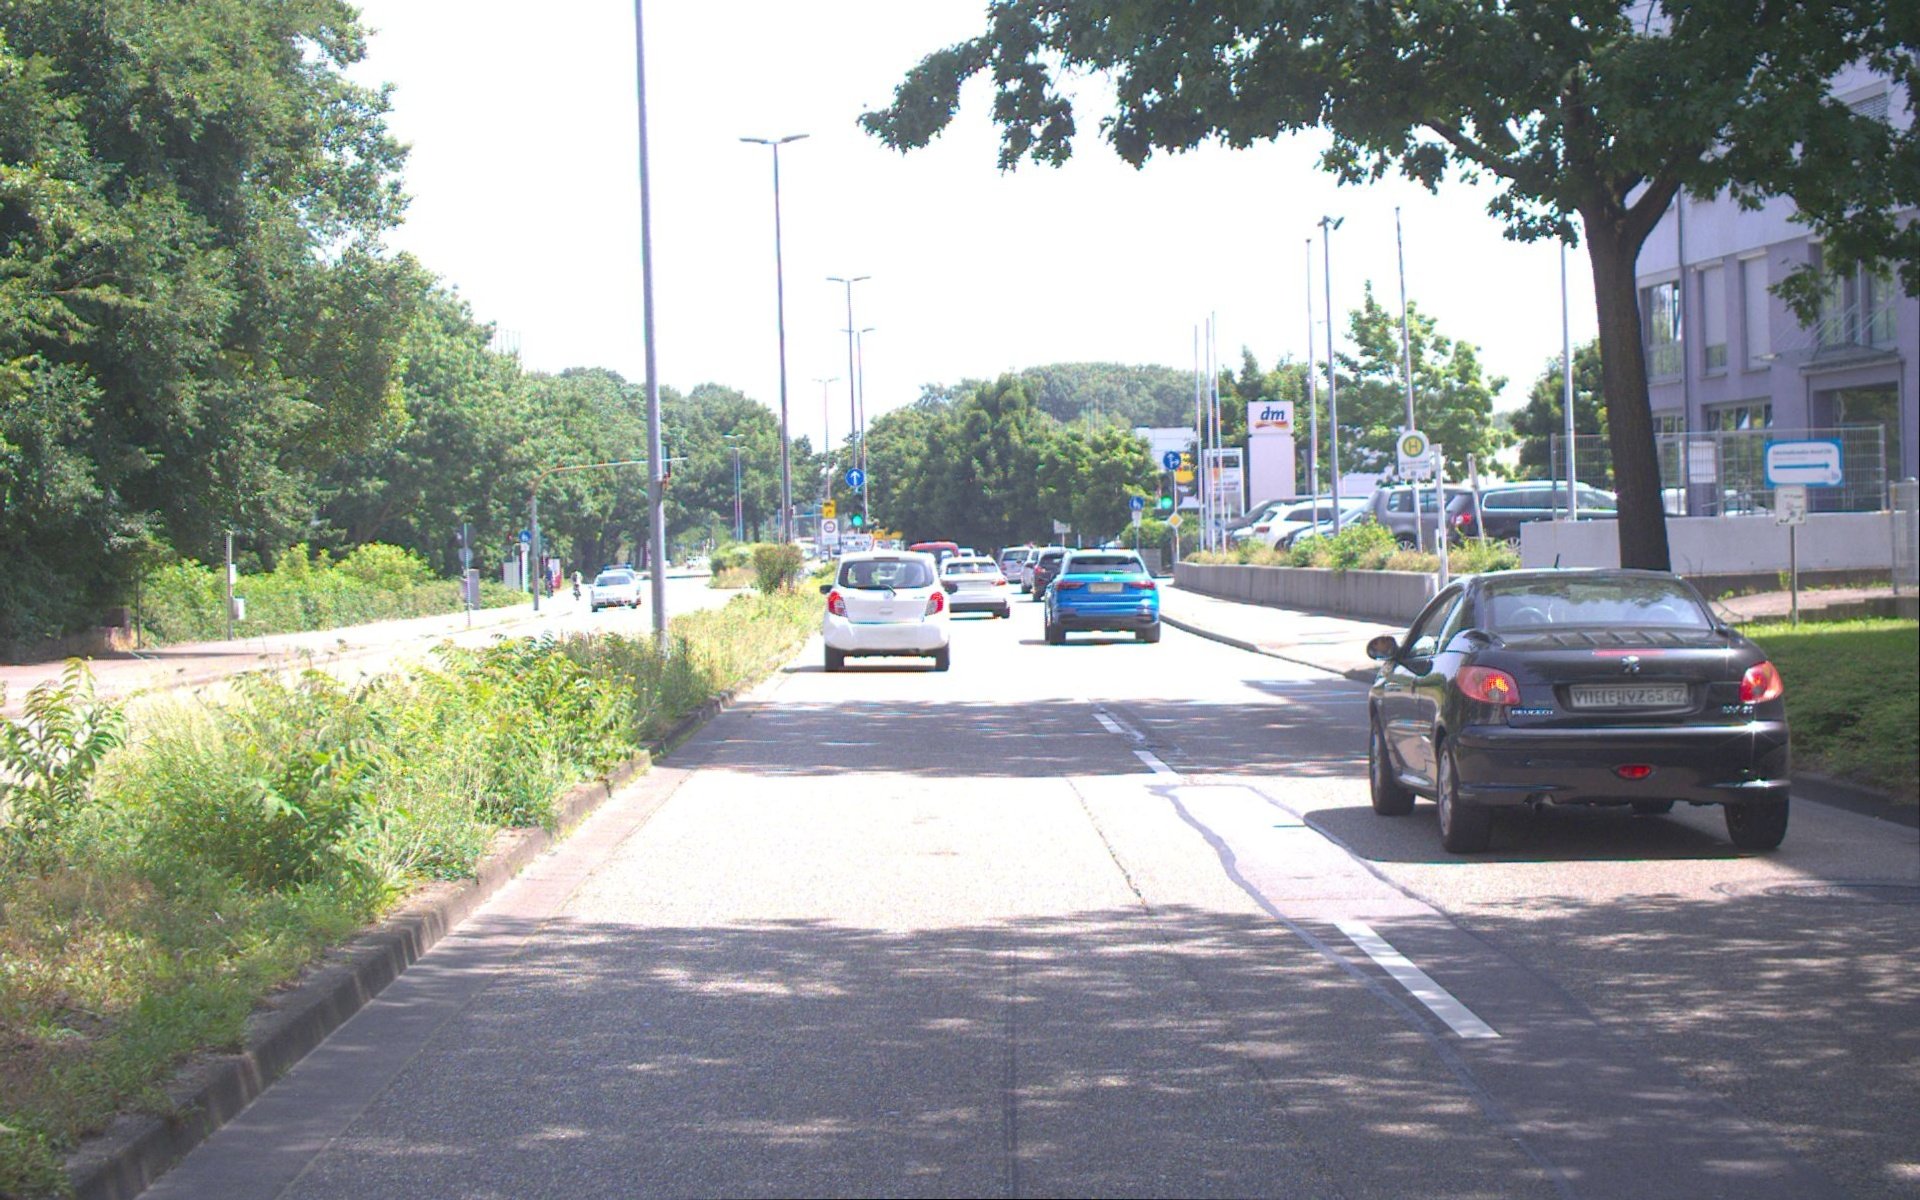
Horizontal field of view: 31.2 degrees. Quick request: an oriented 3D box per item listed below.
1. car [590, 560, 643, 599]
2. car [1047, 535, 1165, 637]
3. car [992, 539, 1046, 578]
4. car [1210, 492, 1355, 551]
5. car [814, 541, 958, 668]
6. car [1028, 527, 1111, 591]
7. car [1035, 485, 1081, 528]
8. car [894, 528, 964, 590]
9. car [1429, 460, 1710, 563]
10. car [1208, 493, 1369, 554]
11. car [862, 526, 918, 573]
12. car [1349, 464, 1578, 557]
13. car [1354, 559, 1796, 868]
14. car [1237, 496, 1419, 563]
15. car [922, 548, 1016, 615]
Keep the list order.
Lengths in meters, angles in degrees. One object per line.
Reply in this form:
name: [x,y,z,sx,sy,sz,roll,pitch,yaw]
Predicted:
car: [-13.212,-0.818,132.357,1.736,1.408,4.372,-2,1,-2]
car: [2.442,-0.265,58.277,1.828,1.574,3.606,-2,2,0]
car: [2.400,-1.701,140.848,1.993,1.503,4.000,-2,1,-1]
car: [9.600,-2.323,102.485,3.986,1.539,2.000,-3,1,-2]
car: [-0.926,0.028,44.815,1.748,1.515,3.746,-1,2,1]
car: [2.990,-1.150,94.528,1.993,1.634,4.000,-2,1,-1]
car: [4.854,-4.647,170.819,1.769,2.006,3.992,-3,2,-4]
car: [-0.937,-1.214,101.157,1.776,1.734,4.001,-2,1,-4]
car: [10.690,-1.550,60.518,4.499,1.577,2.000,-3,1,-1]
car: [9.514,-2.212,99.642,4.346,1.539,2.000,-3,1,-2]
car: [-2.685,-1.950,131.567,1.819,1.656,4.001,-2,2,-5]
car: [10.112,-1.794,69.248,4.226,1.641,2.000,-3,1,-1]
car: [3.057,0.505,17.742,1.627,1.359,3.606,0,2,0]
car: [9.736,-1.865,91.166,4.535,1.539,2.000,-3,1,-1]
car: [0.180,-0.448,79.000,1.993,1.437,4.000,-2,1,-1]
